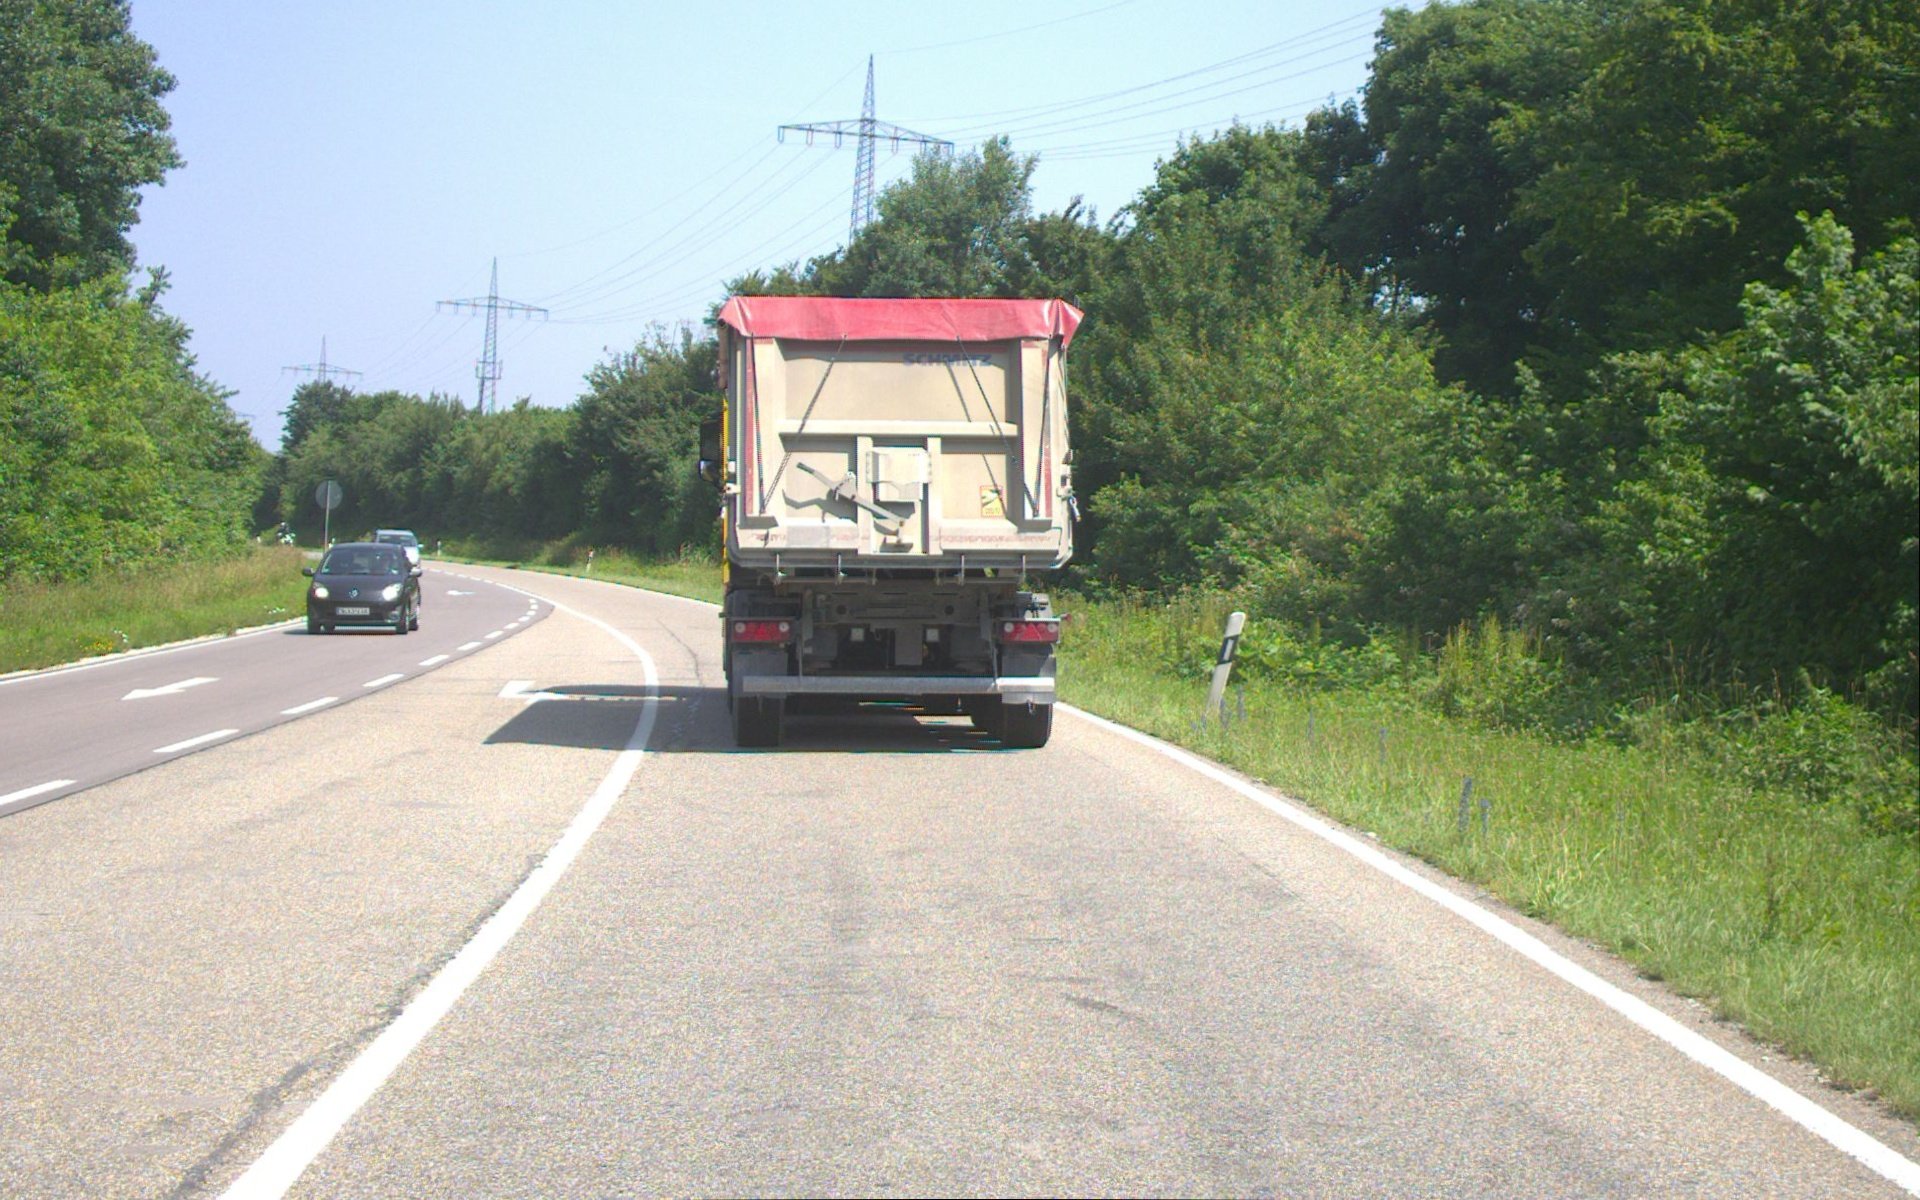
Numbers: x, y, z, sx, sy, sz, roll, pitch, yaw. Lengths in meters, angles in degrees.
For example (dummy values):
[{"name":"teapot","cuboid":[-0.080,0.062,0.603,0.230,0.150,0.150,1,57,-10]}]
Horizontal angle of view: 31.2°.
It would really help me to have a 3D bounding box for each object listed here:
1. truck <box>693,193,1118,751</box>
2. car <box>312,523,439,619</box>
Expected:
[{"name":"truck","cuboid":[-0.846,-1.038,30.647,2.893,3.949,11.935,1,1,-5]},{"name":"car","cuboid":[-9.560,-0.490,56.427,1.614,1.497,3.553,1,1,-3]}]
